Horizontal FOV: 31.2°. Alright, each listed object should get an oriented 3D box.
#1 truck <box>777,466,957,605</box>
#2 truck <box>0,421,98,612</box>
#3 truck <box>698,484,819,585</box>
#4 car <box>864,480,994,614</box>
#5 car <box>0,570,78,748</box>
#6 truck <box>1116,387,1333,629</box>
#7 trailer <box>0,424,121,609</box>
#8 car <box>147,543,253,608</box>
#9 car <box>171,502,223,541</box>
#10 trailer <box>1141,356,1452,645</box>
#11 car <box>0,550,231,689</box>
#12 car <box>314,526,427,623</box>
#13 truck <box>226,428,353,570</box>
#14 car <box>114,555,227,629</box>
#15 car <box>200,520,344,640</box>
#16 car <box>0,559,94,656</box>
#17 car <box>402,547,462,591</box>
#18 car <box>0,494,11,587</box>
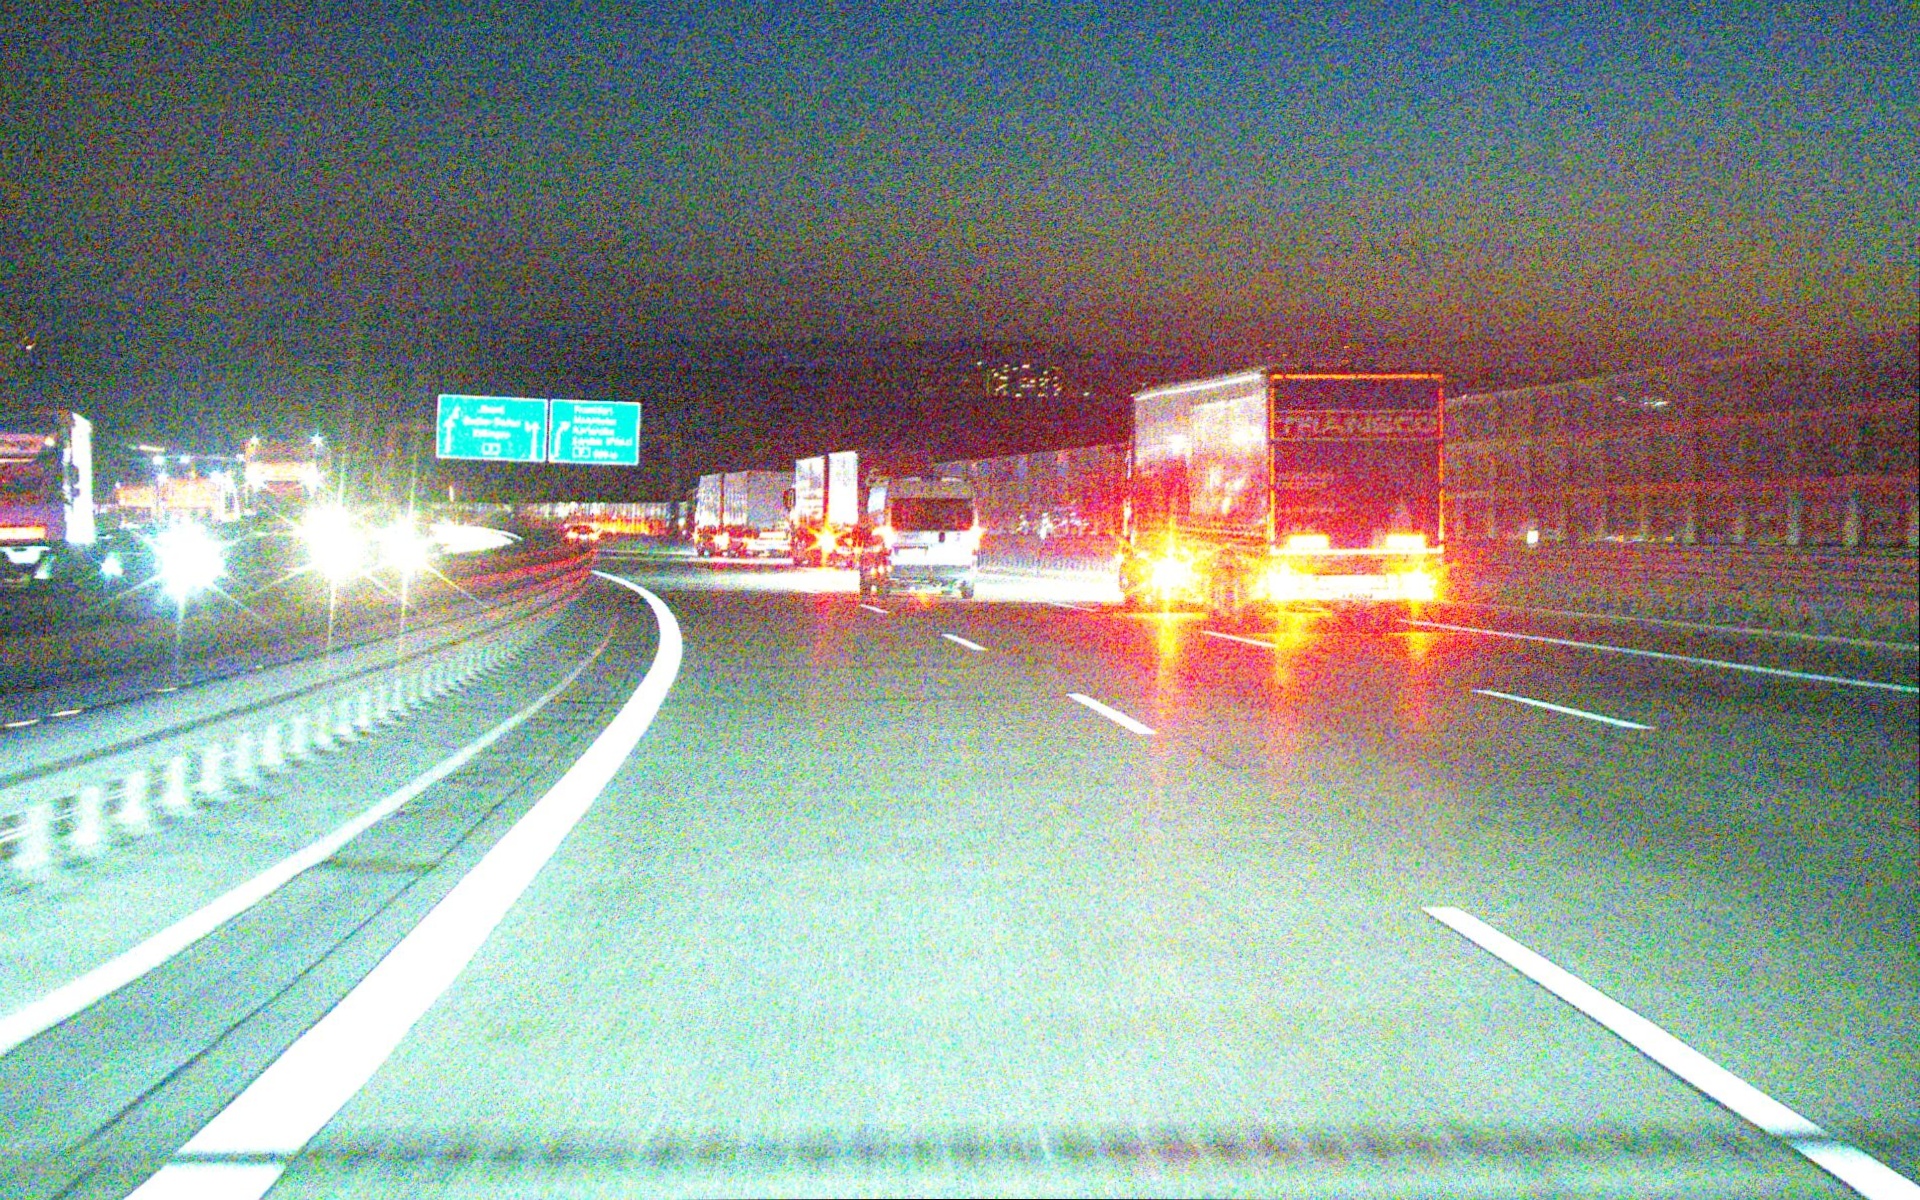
[{"bbox_3d":[-3.636,-2.184,124.516,3.914,4.611,21.023,0,0,-9],"label":"truck"},{"bbox_3d":[-19.973,-1.757,72.831,2.827,3.903,4.936,-1,1,-9],"label":"truck"},{"bbox_3d":[-9.768,-3.150,164.641,3.343,4.461,13.914,3,1,-13],"label":"truck"},{"bbox_3d":[-0.709,-1.075,72.948,2.337,2.631,5.248,2,-1,-4],"label":"car"},{"bbox_3d":[-8.960,0.485,28.916,1.903,1.487,4.868,0,0,-1],"label":"car"},{"bbox_3d":[4.619,-1.603,61.578,2.861,4.063,7.512,0,1,-3],"label":"truck"},{"bbox_3d":[-20.679,-1.860,77.196,2.819,3.904,8.742,-1,1,-9],"label":"trailer"},{"bbox_3d":[-17.182,-0.569,77.924,1.947,1.438,4.651,0,1,-8],"label":"car"},{"bbox_3d":[-29.277,-2.989,131.984,1.653,1.472,3.775,0,1,-8],"label":"car"},{"bbox_3d":[5.077,-1.500,54.896,2.853,4.053,13.207,0,1,-4],"label":"trailer"},{"bbox_3d":[-9.770,0.233,39.948,1.626,1.487,4.867,1,0,-1],"label":"car"},{"bbox_3d":[-12.121,-0.519,70.979,1.875,1.916,5.605,0,0,-5],"label":"car"},{"bbox_3d":[-21.428,-3.163,110.246,3.108,4.083,7.077,4,-1,-6],"label":"truck"},{"bbox_3d":[-15.927,-0.144,69.512,1.628,1.346,4.000,4,-1,-5],"label":"car"},{"bbox_3d":[-11.478,-0.327,57.639,1.875,1.916,4.868,0,0,-5],"label":"car"},{"bbox_3d":[-15.211,0.099,55.223,1.903,1.487,4.868,0,0,-7],"label":"car"},{"bbox_3d":[-18.777,-1.112,122.397,1.843,1.421,4.514,3,1,-7],"label":"car"},{"bbox_3d":[-19.407,-1.130,65.127,1.993,1.804,4.320,0,1,-5],"label":"car"}]
